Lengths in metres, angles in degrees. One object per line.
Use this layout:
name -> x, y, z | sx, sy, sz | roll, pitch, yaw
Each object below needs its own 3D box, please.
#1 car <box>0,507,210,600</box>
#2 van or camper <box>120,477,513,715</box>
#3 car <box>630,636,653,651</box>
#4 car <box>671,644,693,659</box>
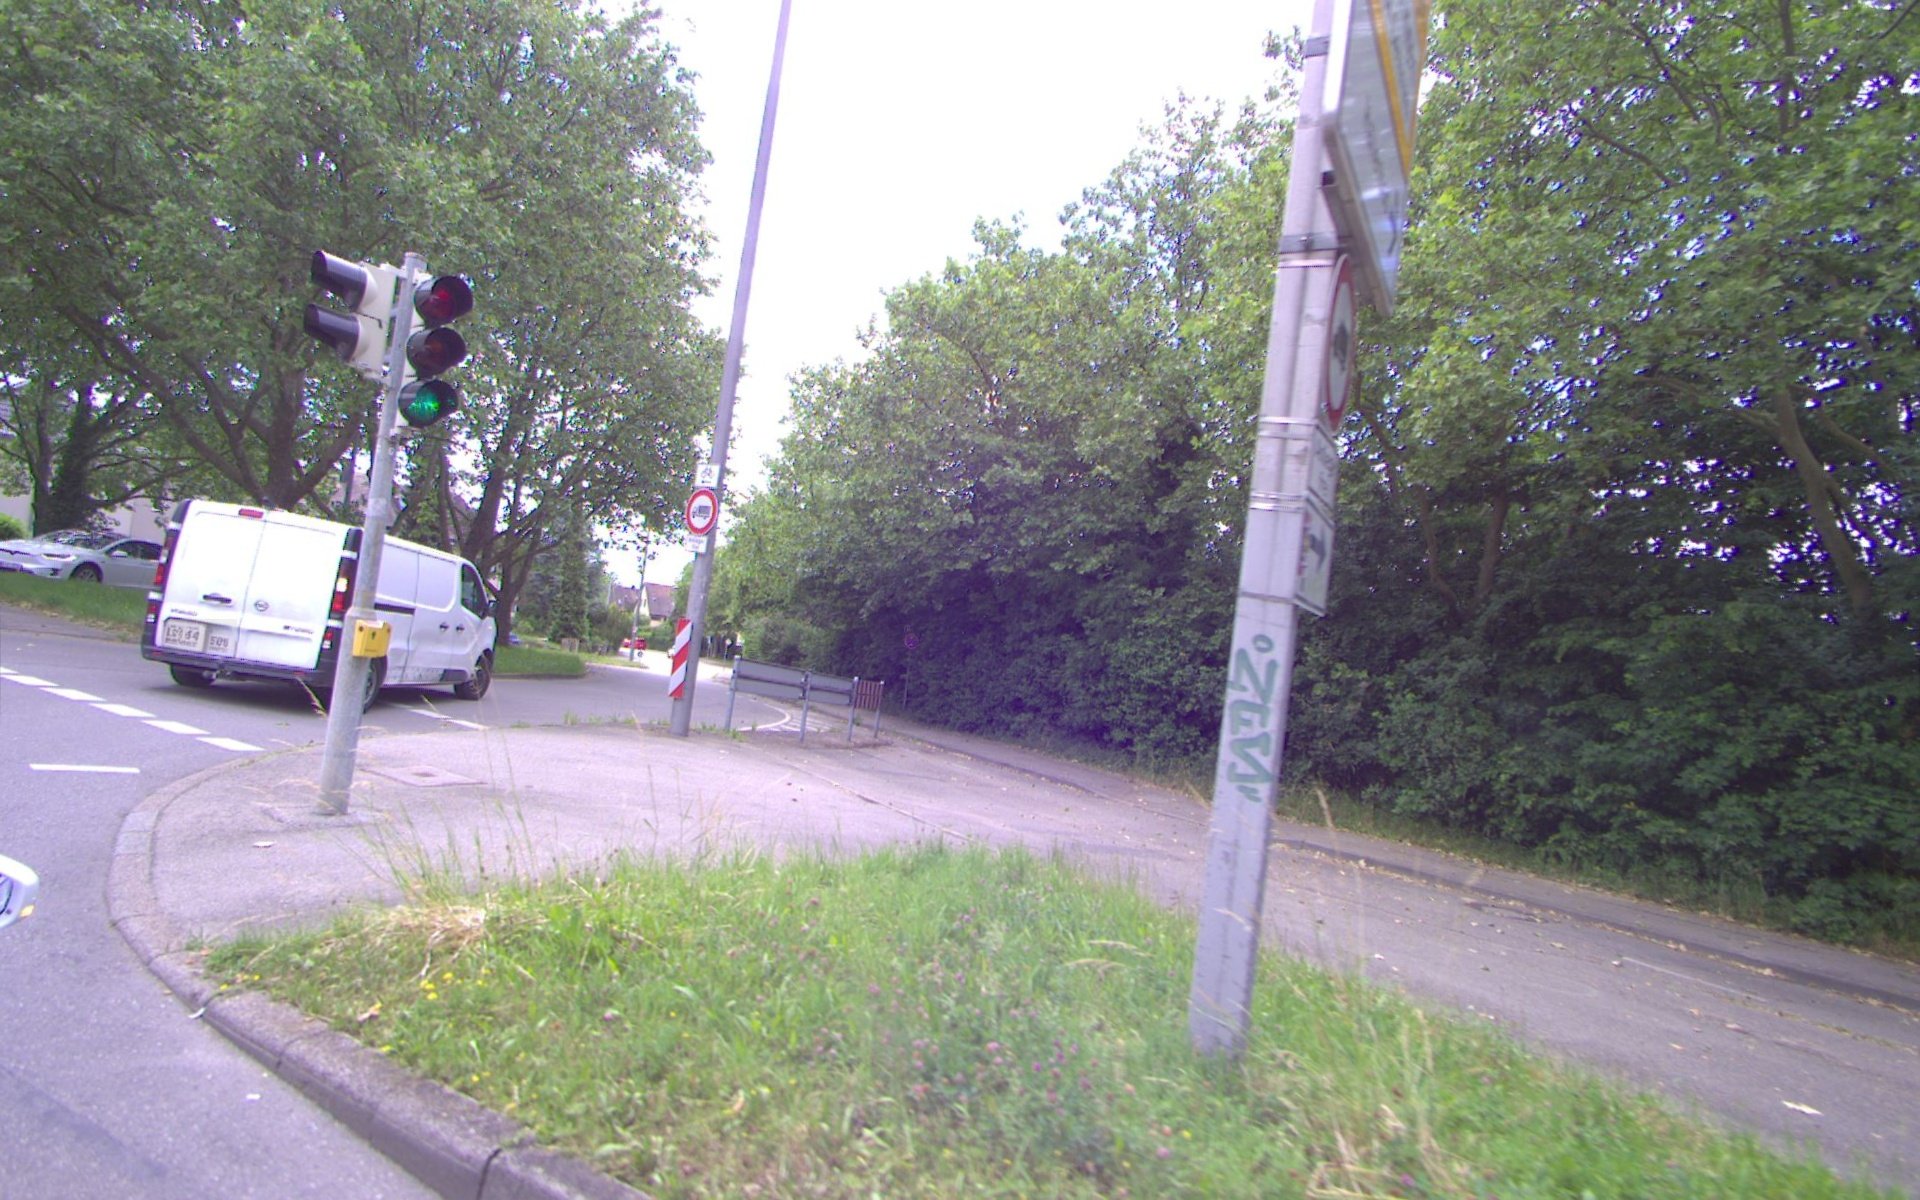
car -> -21.484, -1.083, 25.125 | 1.824, 1.676, 4.909 | 9, -3, -3
van or camper -> -7.299, 0.056, 12.194 | 1.898, 2.035, 4.827 | 9, -3, -7
car -> -49.193, 6.728, 155.291 | 1.752, 1.816, 4.903 | 10, -5, -36
car -> -33.312, 6.202, 120.528 | 1.715, 1.488, 3.361 | 10, -5, -28
